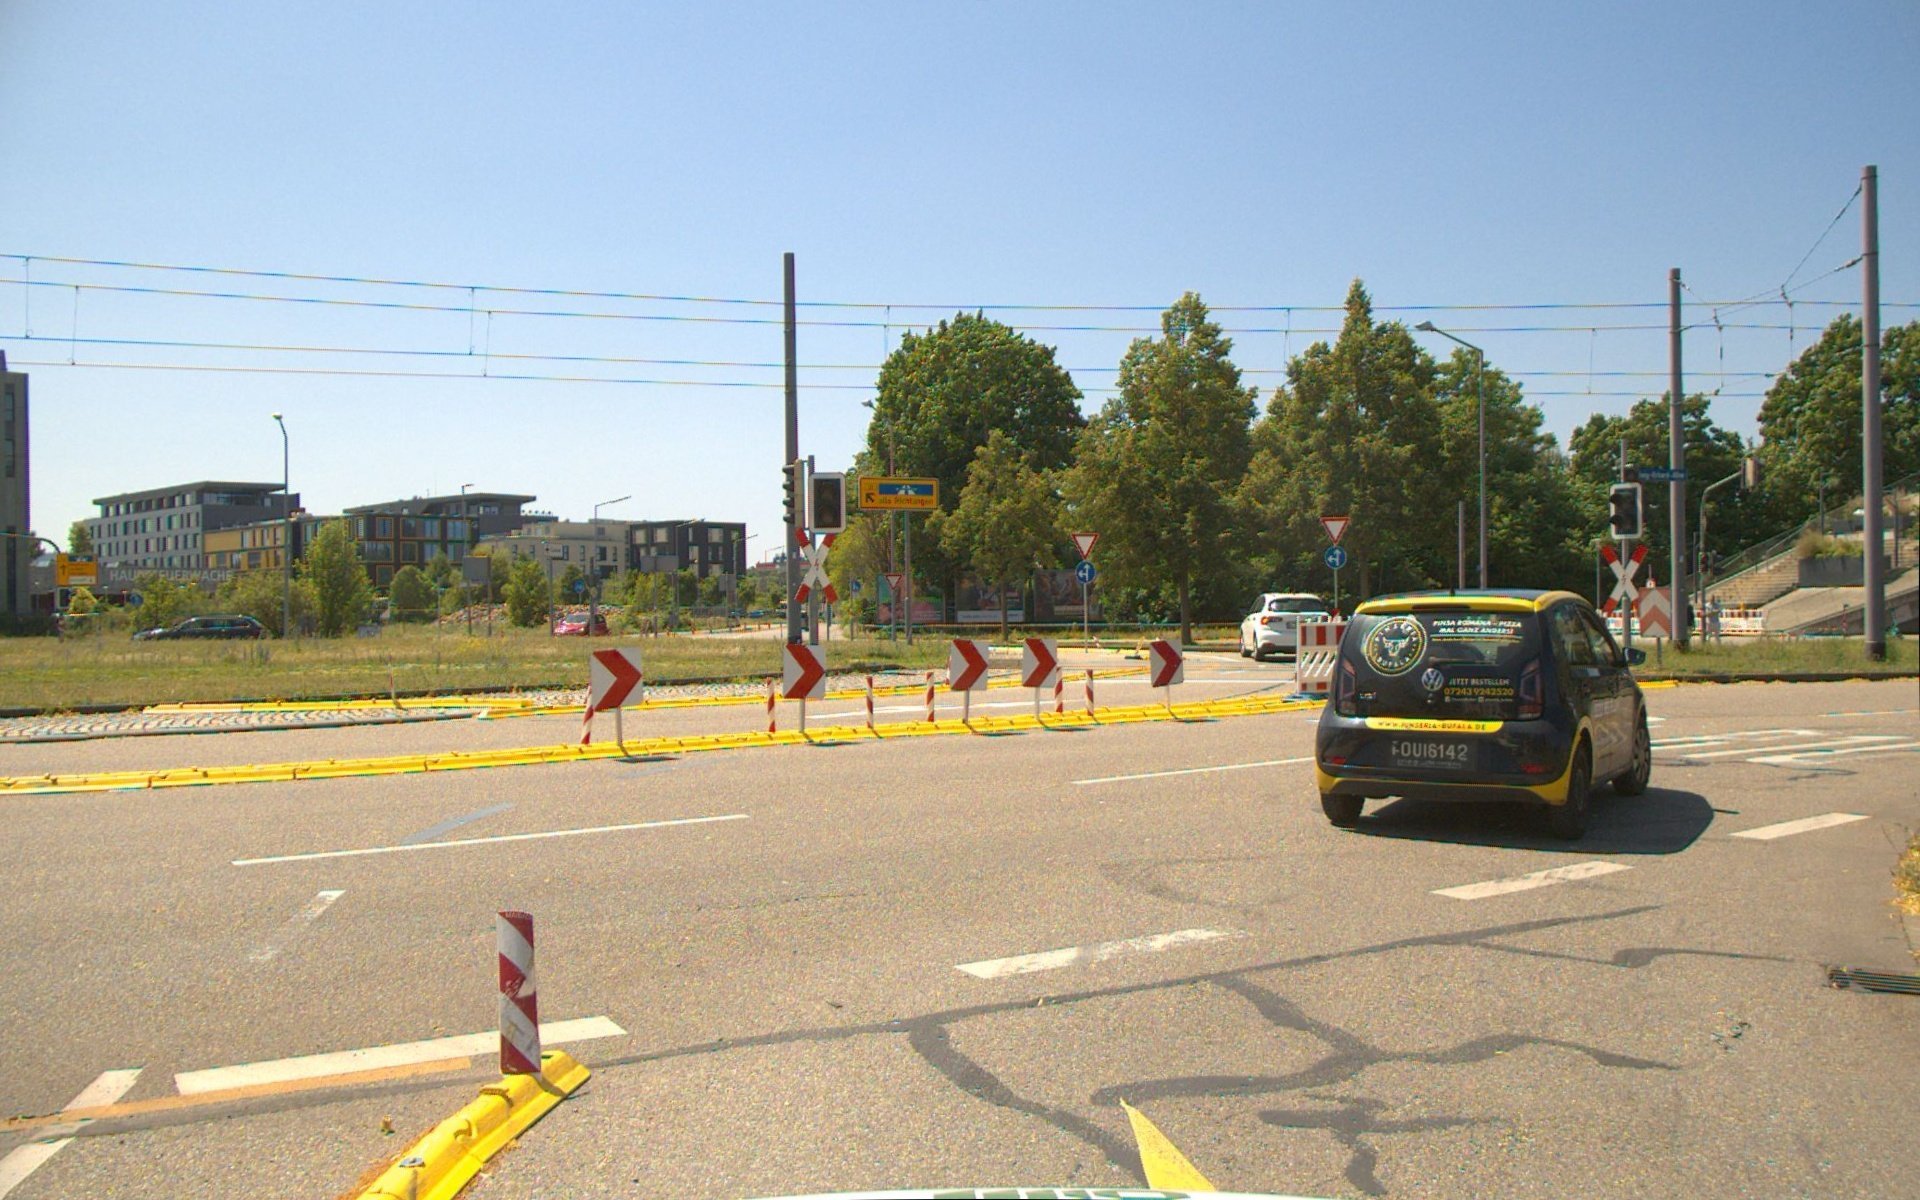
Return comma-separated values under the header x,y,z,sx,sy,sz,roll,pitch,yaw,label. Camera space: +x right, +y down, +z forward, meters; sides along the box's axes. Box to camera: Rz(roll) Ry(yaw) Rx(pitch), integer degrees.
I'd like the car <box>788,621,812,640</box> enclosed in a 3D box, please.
x,y,z,sx,sy,sz,roll,pitch,yaw,label
-12.548,2.405,129.617,1.624,1.396,3.031,-1,0,0,car

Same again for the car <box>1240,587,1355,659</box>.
x,y,z,sx,sy,sz,roll,pitch,yaw,label
7.586,0.499,37.516,1.952,1.512,4.368,-1,0,4,car

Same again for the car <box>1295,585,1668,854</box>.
x,y,z,sx,sy,sz,roll,pitch,yaw,label
3.682,0.671,11.205,1.588,1.477,3.978,0,0,30,car

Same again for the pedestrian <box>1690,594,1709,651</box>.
x,y,z,sx,sy,sz,roll,pitch,yaw,label
23.099,0.694,51.677,0.438,1.769,0.291,0,0,2,pedestrian

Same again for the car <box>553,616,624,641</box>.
x,y,z,sx,sy,sz,roll,pitch,yaw,label
-17.635,1.361,78.670,1.463,1.109,3.518,-1,0,25,car

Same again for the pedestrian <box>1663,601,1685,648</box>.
x,y,z,sx,sy,sz,roll,pitch,yaw,label
21.988,0.758,50.941,0.509,1.454,0.352,-1,0,-1,pedestrian

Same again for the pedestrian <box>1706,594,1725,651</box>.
x,y,z,sx,sy,sz,roll,pitch,yaw,label
23.618,0.699,51.702,0.438,1.769,0.318,0,0,2,pedestrian

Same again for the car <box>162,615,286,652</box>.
x,y,z,sx,sy,sz,roll,pitch,yaw,label
-29.038,1.305,65.424,4.408,1.342,1.986,-1,0,-23,car
